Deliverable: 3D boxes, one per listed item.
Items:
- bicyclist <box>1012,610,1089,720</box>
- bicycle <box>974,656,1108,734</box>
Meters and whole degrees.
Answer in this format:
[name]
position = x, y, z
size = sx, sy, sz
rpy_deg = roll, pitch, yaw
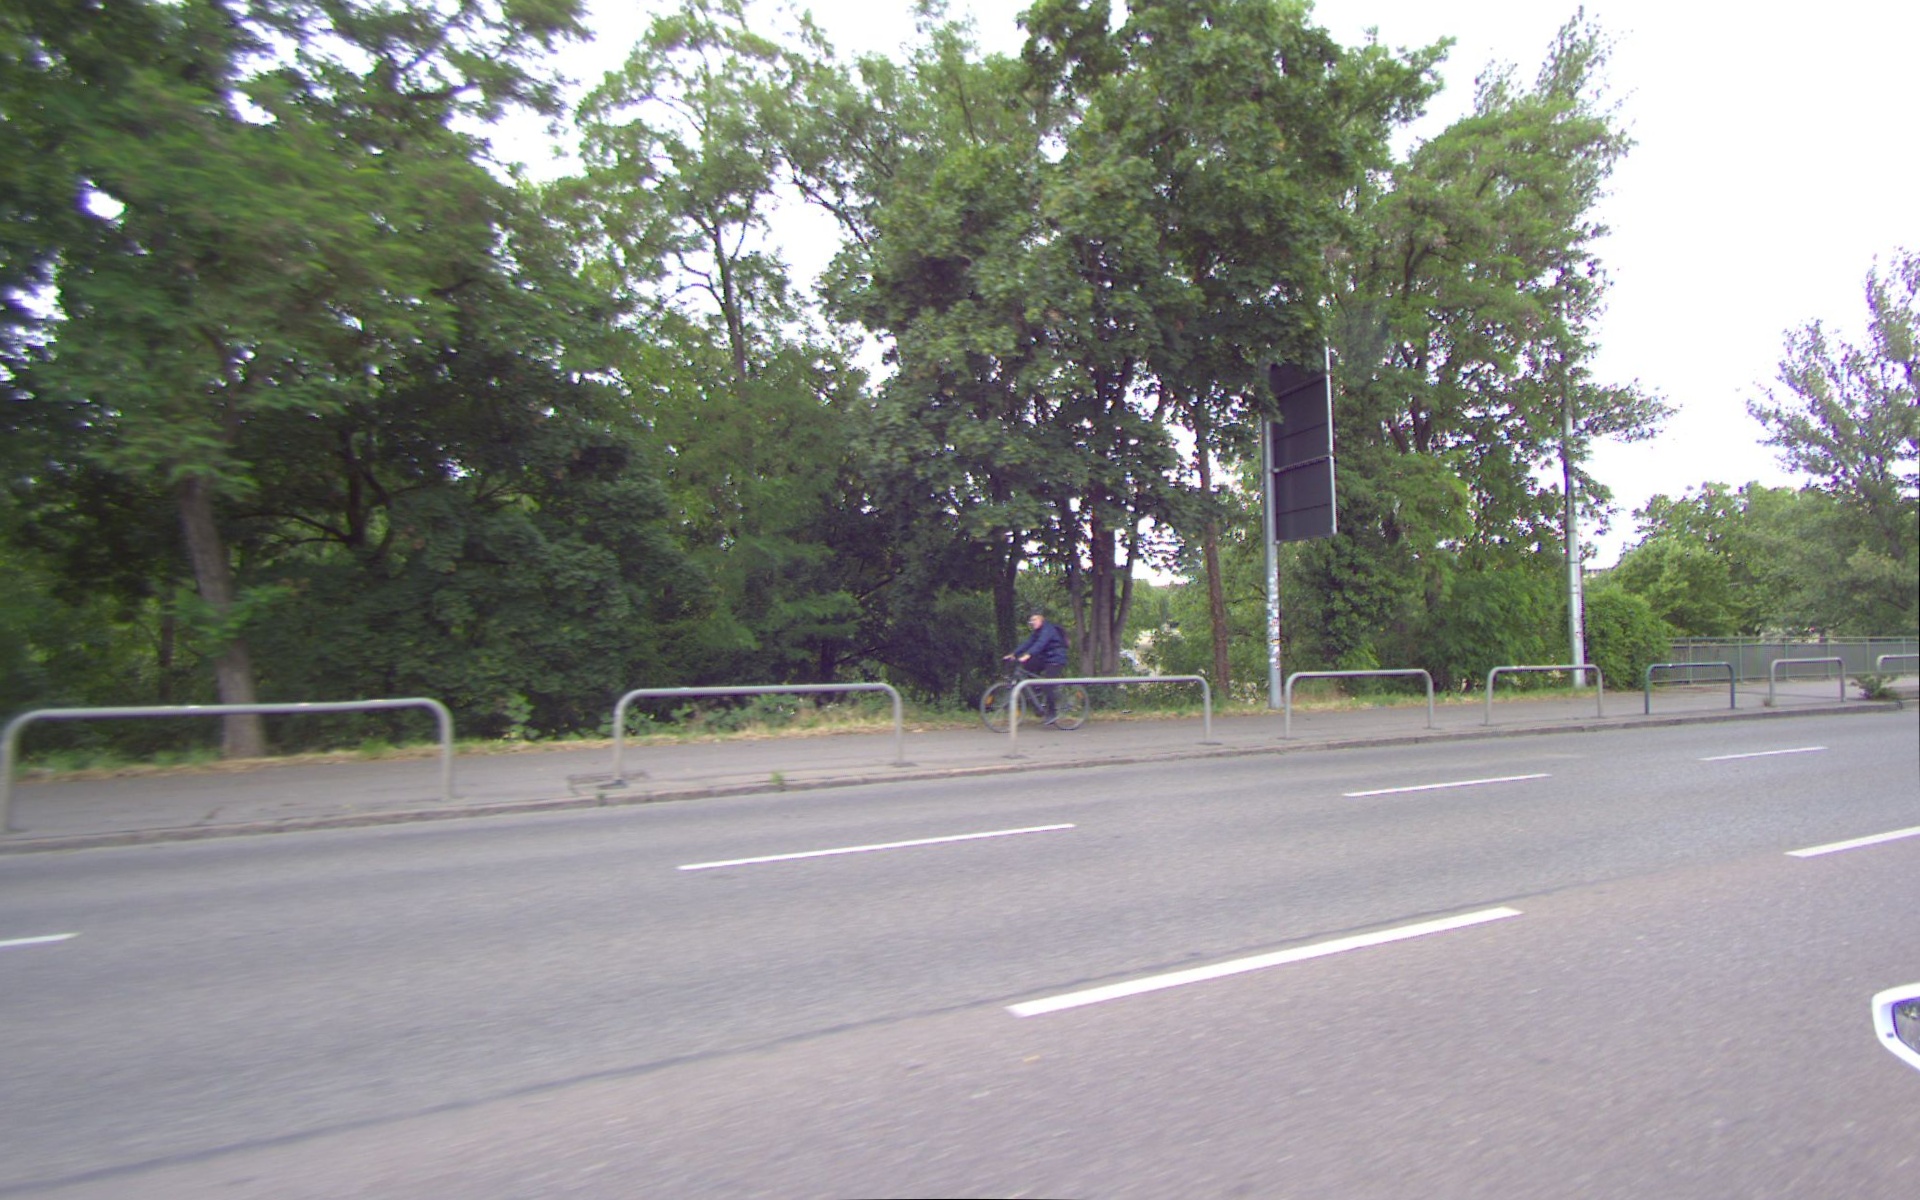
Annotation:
[bicyclist]
position = 1.298, 0.918, 14.453
size = 0.972, 1.536, 0.513
rpy_deg = 0, -2, -29
[bicycle]
position = 1.177, 1.336, 14.384
size = 1.977, 1.015, 0.482
rpy_deg = 0, -2, -29
